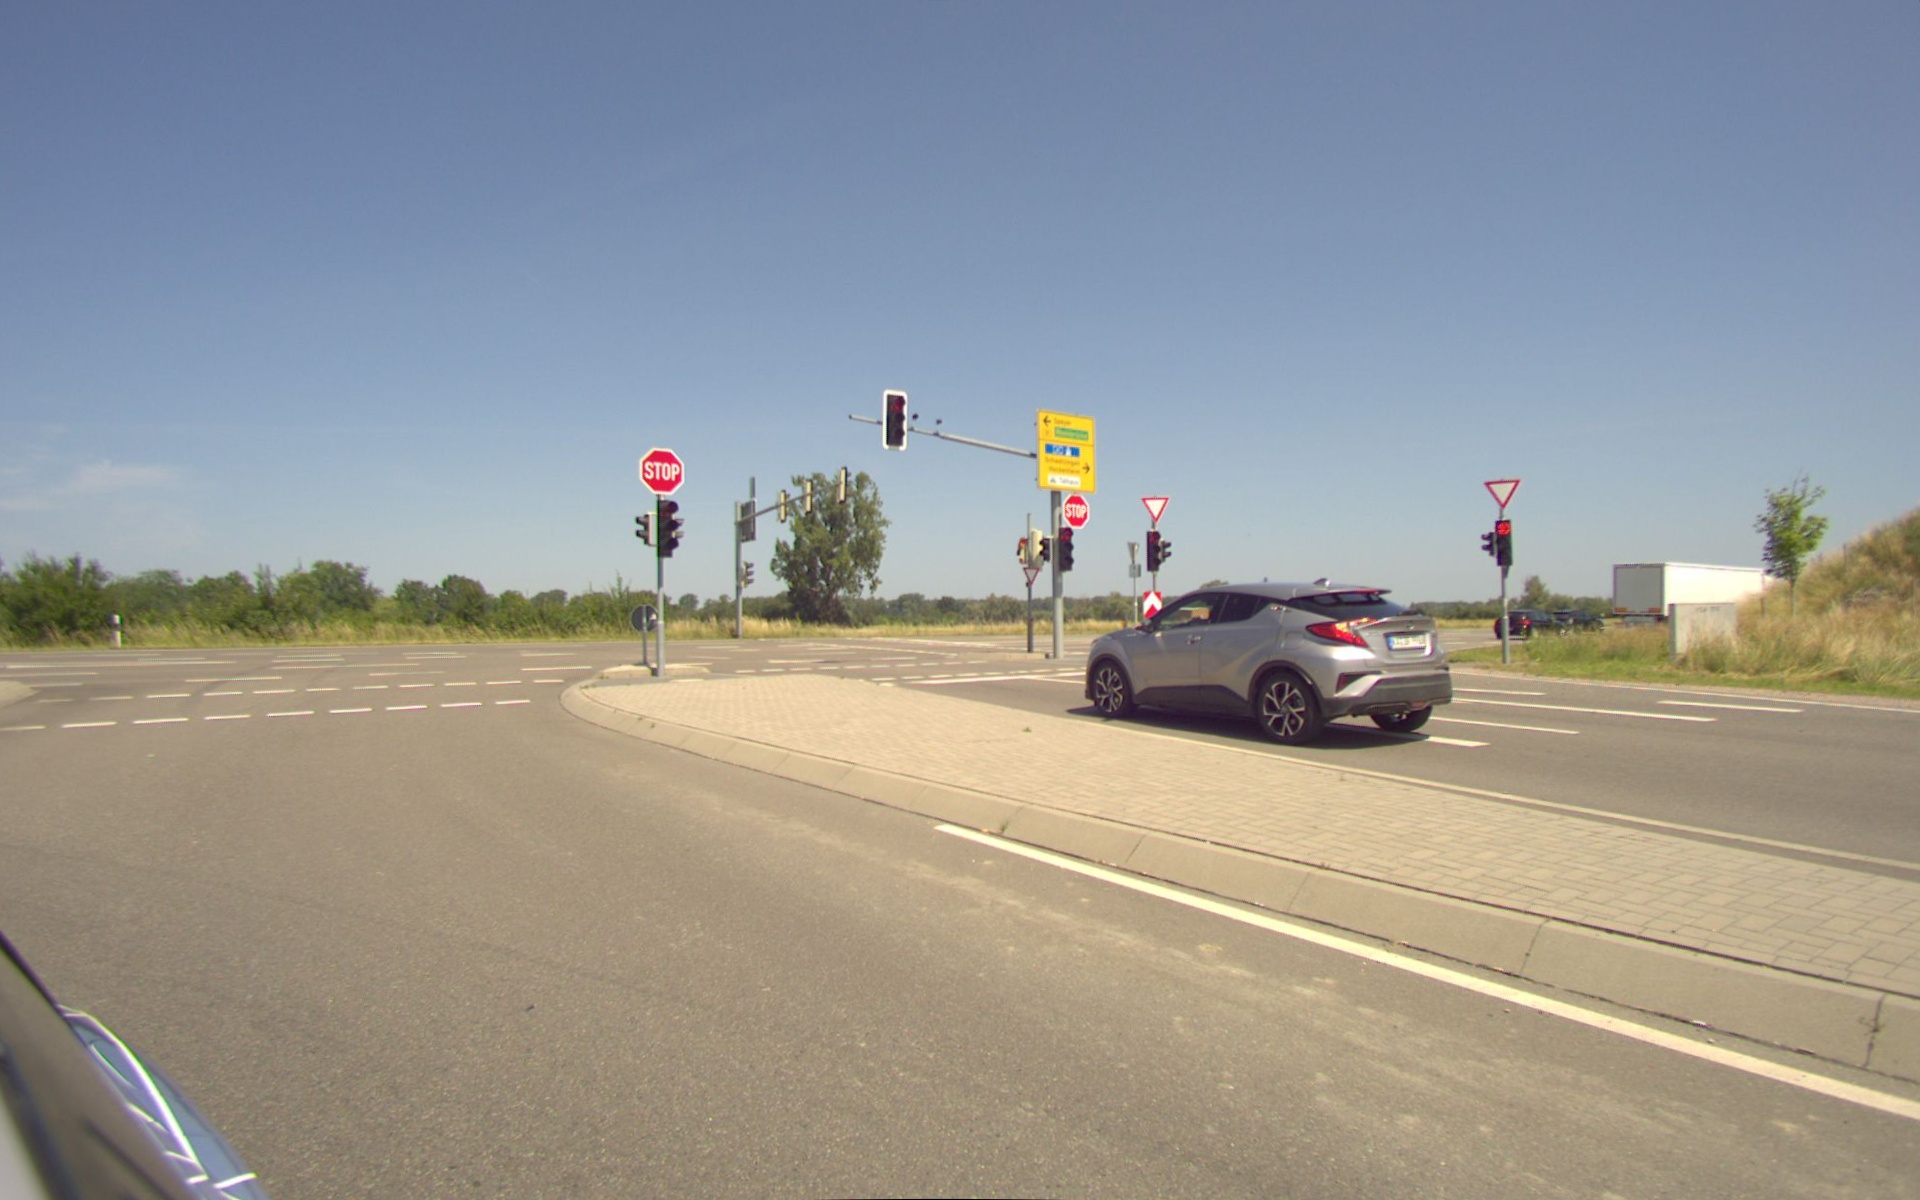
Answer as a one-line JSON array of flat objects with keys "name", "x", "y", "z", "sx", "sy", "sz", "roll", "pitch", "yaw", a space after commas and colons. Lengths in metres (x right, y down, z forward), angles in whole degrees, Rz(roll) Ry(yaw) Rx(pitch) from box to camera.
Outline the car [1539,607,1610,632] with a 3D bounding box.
[{"name": "car", "x": 35.972, "y": 1.143, "z": 59.220, "sx": 4.450, "sy": 1.458, "sz": 1.900, "roll": 1, "pitch": -1, "yaw": -34}]

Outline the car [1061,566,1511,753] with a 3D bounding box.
[{"name": "car", "x": 3.159, "y": 0.501, "z": 10.871, "sx": 1.839, "sy": 1.555, "sz": 4.565, "roll": -1, "pitch": 0, "yaw": -29}]

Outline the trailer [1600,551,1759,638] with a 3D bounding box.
[{"name": "trailer", "x": 41.740, "y": -0.229, "z": 58.432, "sx": 12.657, "sy": 4.577, "sz": 3.401, "roll": 1, "pitch": -1, "yaw": -35}]

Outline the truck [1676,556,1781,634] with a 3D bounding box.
[{"name": "truck", "x": 47.323, "y": -0.258, "z": 62.328, "sx": 6.266, "sy": 4.577, "sz": 3.401, "roll": 1, "pitch": -1, "yaw": -35}]

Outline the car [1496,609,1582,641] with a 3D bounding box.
[{"name": "car", "x": 28.013, "y": 1.173, "z": 48.931, "sx": 4.306, "sy": 1.441, "sz": 1.795, "roll": 0, "pitch": 0, "yaw": -31}]
